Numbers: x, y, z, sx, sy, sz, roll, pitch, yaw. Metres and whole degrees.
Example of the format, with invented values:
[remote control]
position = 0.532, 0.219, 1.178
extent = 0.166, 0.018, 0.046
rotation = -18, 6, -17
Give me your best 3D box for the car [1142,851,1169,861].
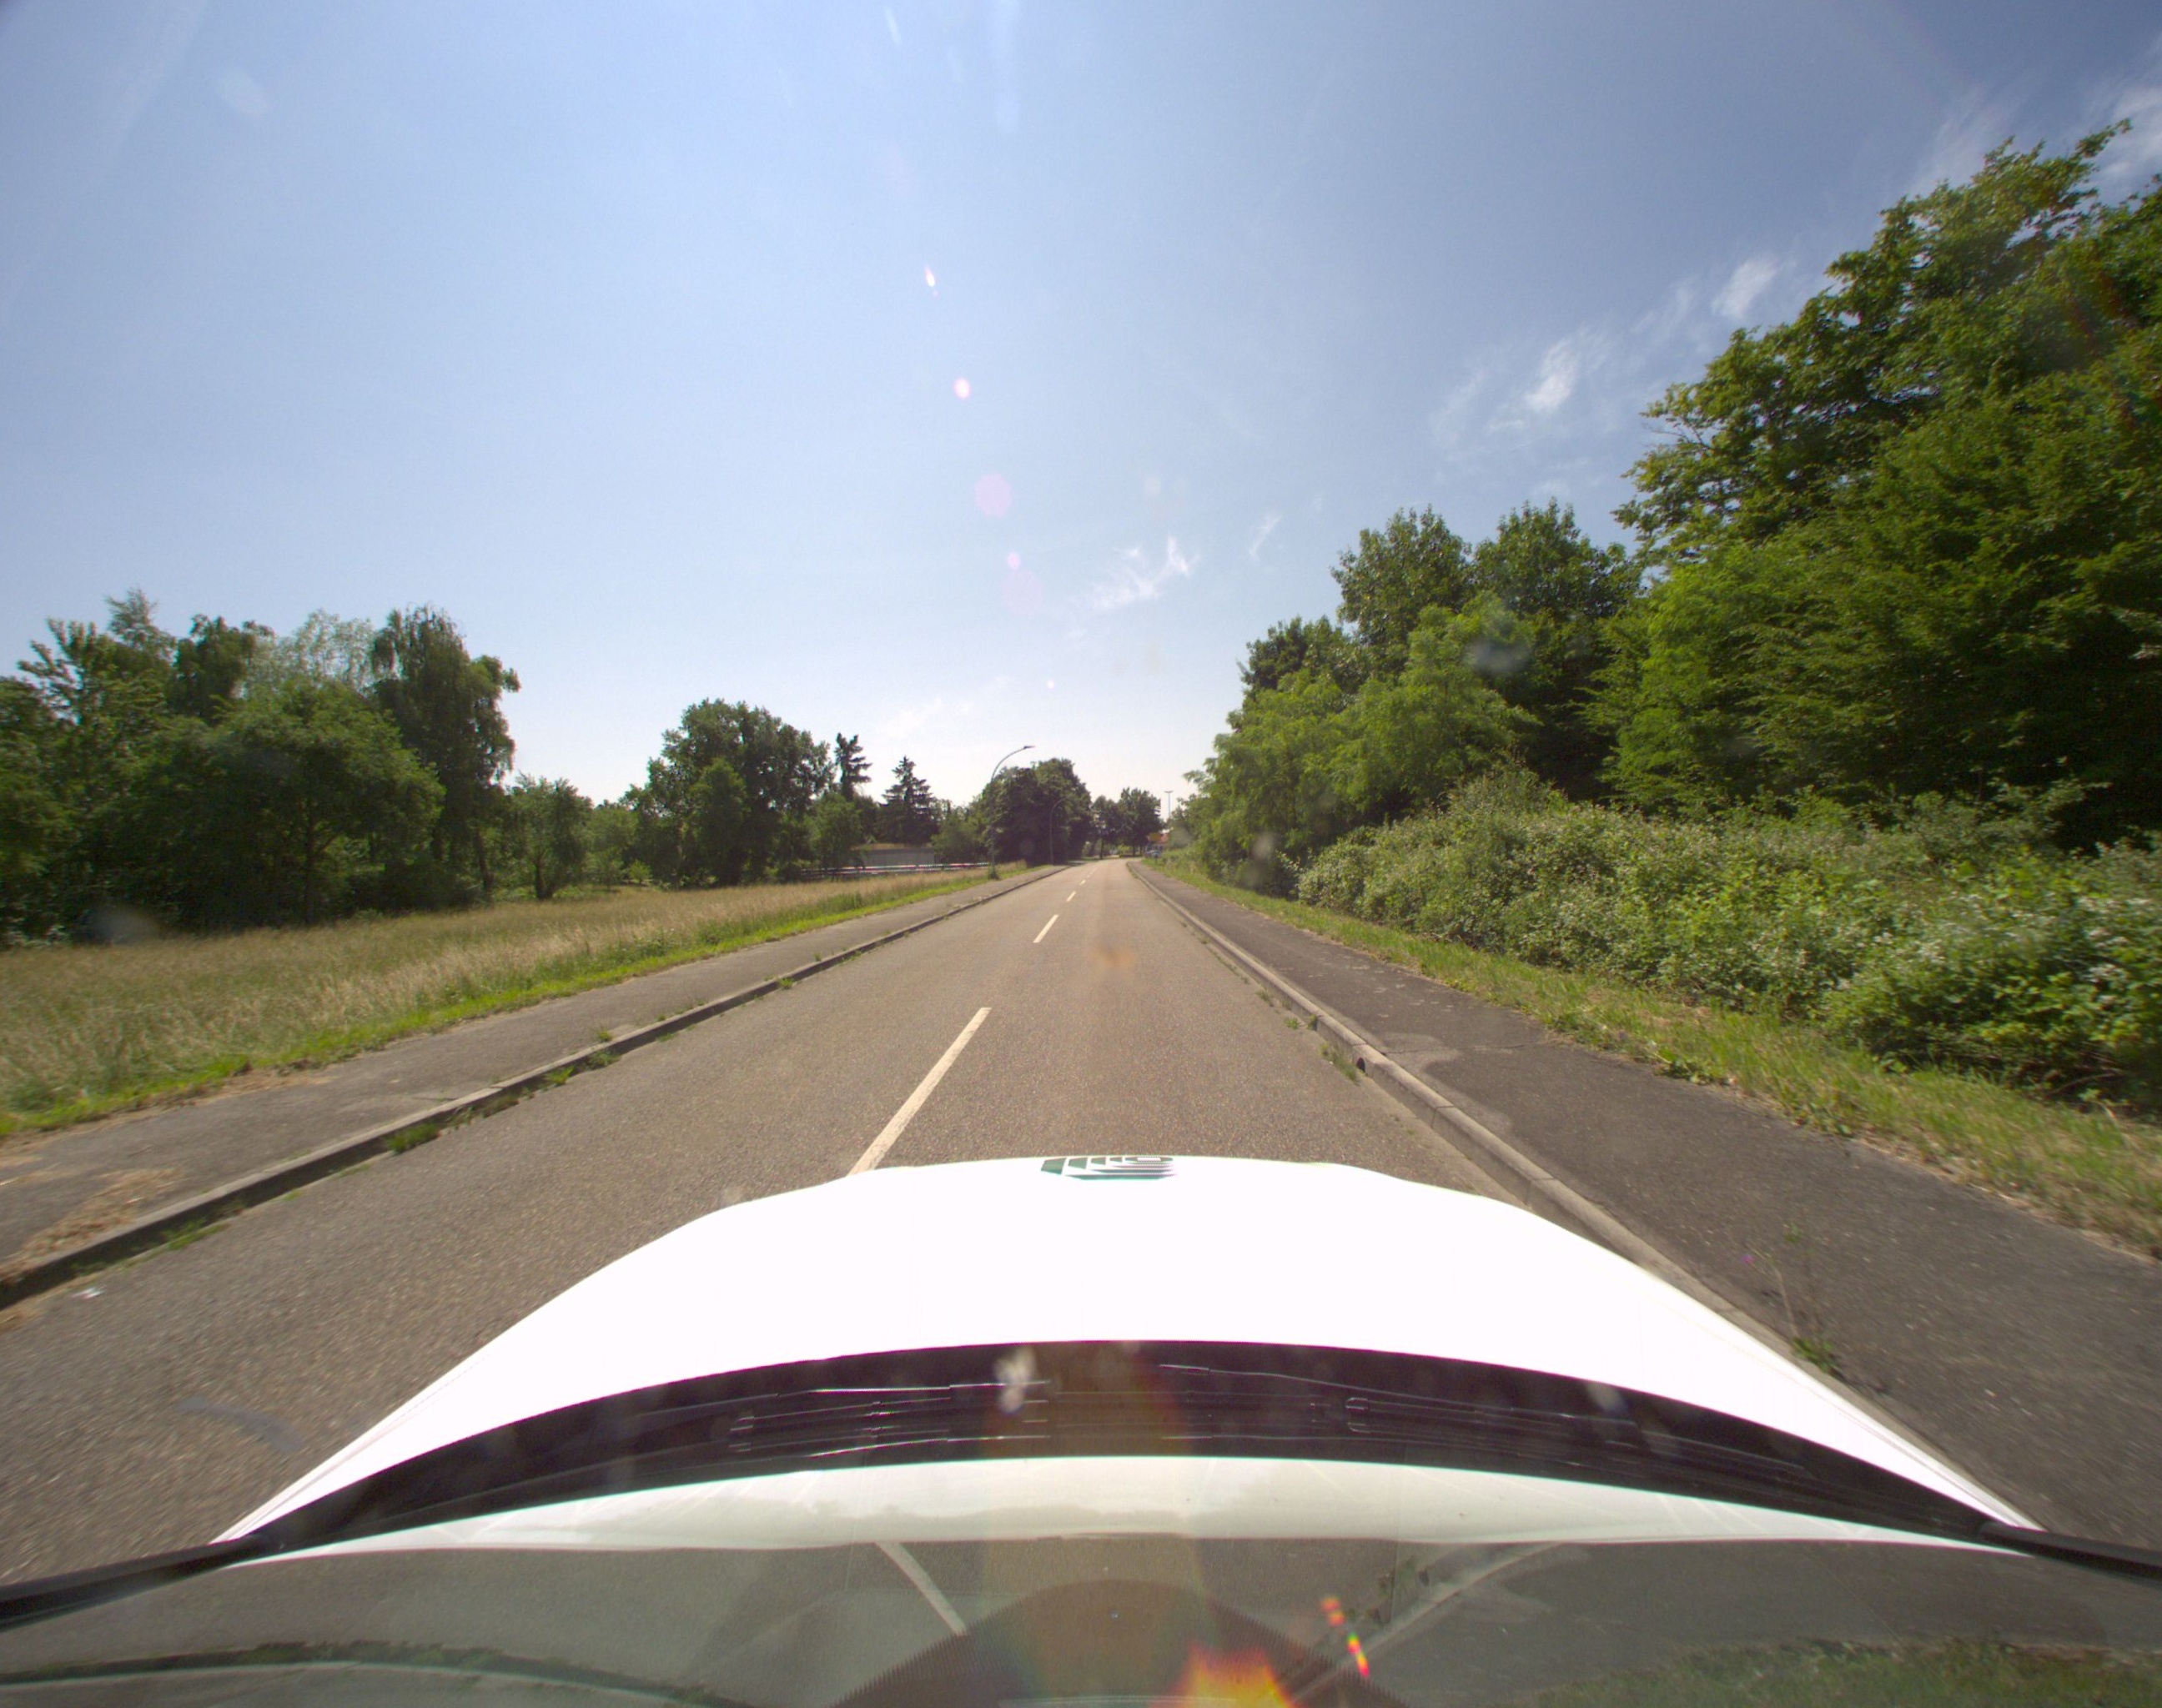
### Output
[car]
position = 10.411, 0.327, 114.062
extent = 3.573, 1.288, 1.601
rotation = -2, 0, -37
